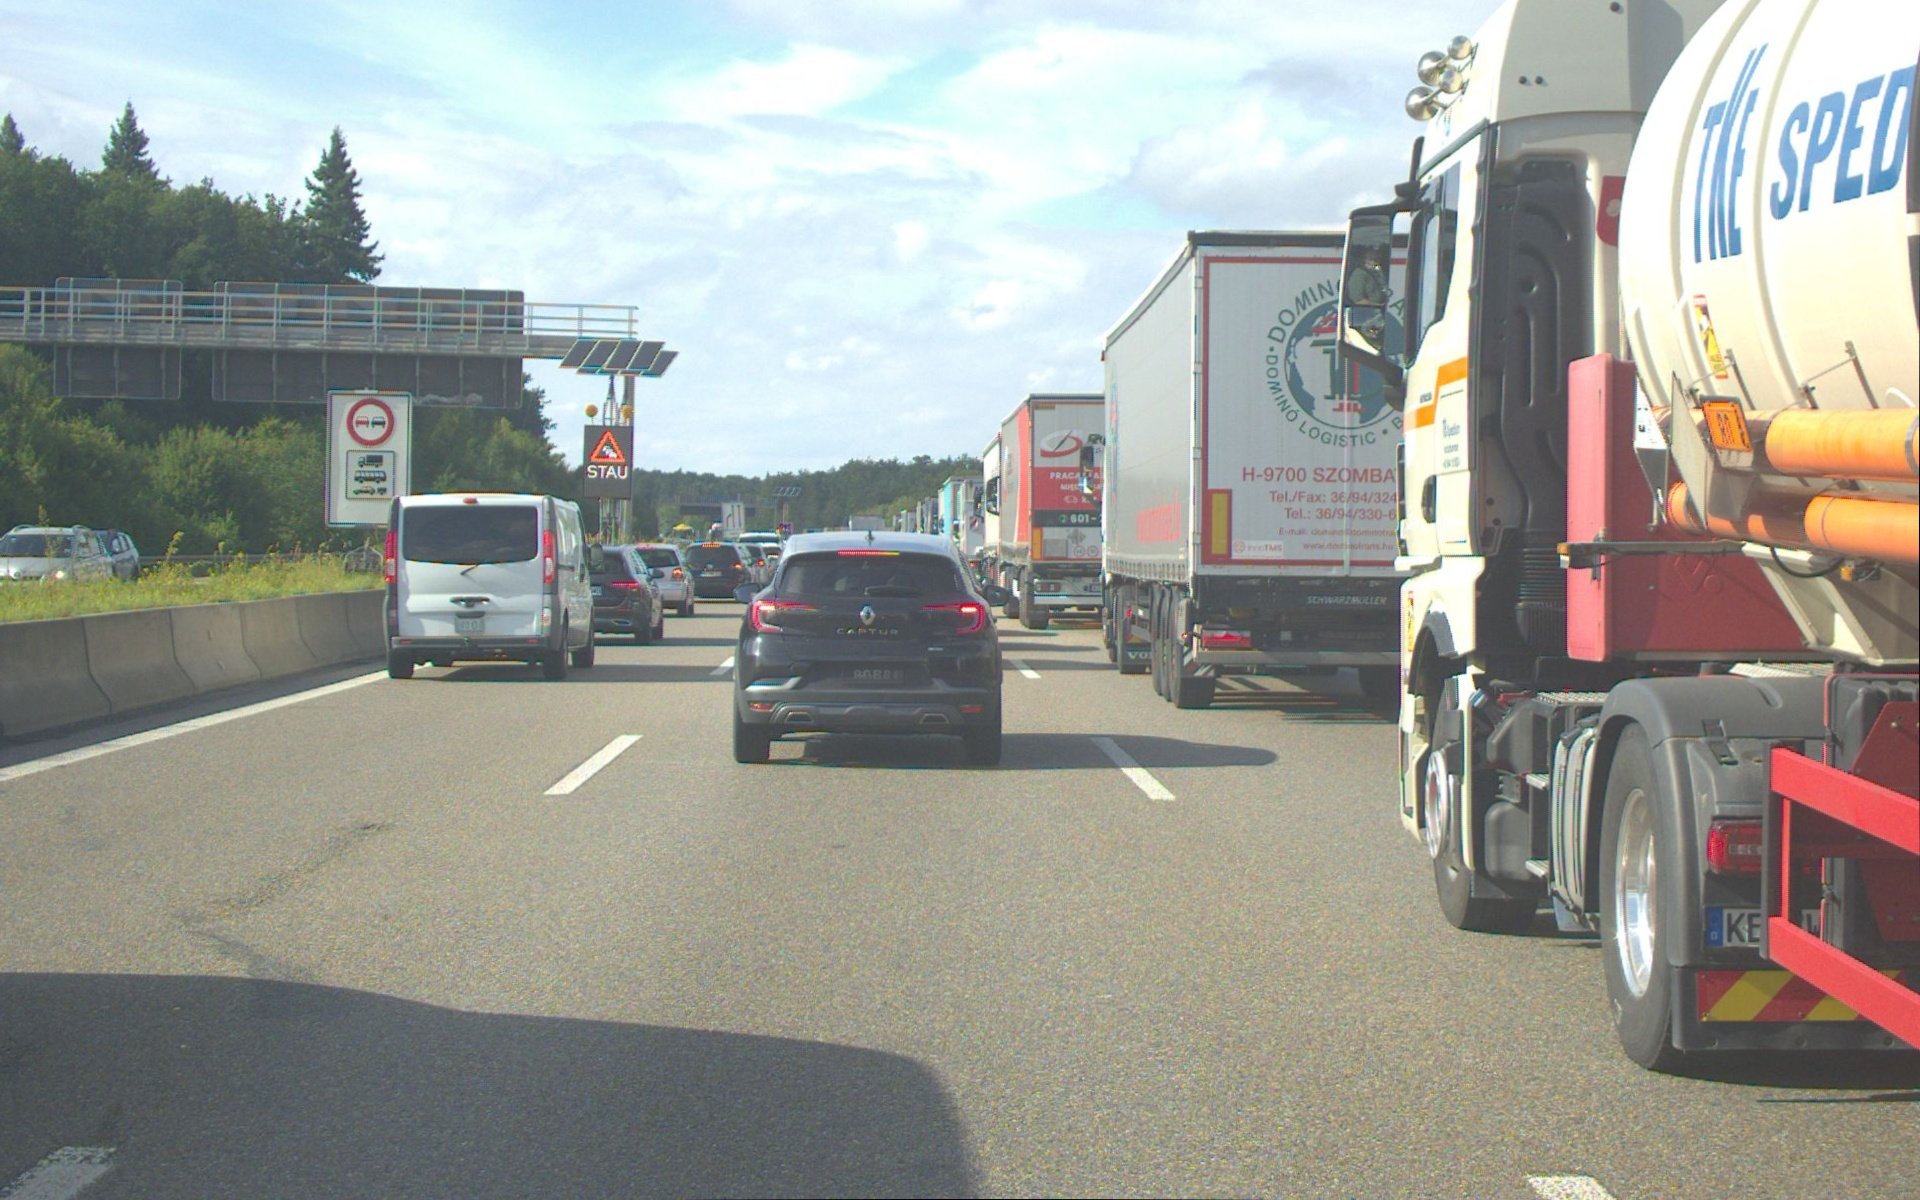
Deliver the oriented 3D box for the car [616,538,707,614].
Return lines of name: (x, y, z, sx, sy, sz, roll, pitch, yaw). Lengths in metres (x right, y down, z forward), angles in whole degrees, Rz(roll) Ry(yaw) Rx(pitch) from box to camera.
car: (-5.993, -0.491, 69.312, 1.500, 1.391, 3.476, 4, 1, -1)

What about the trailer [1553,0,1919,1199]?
trailer: (3.184, -0.436, 5.313, 2.541, 3.641, 10.627, 1, 1, -1)

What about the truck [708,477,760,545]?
truck: (-12.592, -4.922, 191.973, 2.344, 3.582, 6.306, 4, 1, -1)

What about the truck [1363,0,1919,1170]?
truck: (3.083, -0.471, 11.531, 2.533, 3.571, 6.730, 1, 1, -1)

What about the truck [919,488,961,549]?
truck: (-1.040, -4.259, 180.738, 1.993, 3.042, 4.982, 4, 1, 0)

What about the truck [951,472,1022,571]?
truck: (0.800, -2.460, 108.620, 1.993, 2.922, 4.982, 4, 1, 0)

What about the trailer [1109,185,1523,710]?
trailer: (3.113, -1.296, 33.252, 2.802, 4.229, 11.057, 0, 1, 0)

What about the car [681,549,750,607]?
car: (-5.933, -0.544, 83.816, 1.434, 1.305, 3.534, 4, 1, -1)

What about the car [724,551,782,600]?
car: (-5.922, -0.720, 98.577, 1.434, 1.305, 3.534, 4, 1, -1)

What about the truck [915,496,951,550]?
truck: (-1.621, -4.604, 206.585, 1.993, 3.042, 4.982, 4, 1, 0)

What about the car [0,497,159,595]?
car: (-16.512, -1.009, 64.665, 1.888, 1.678, 4.000, 4, 1, 0)

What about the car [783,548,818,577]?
car: (-6.535, -1.550, 141.013, 1.360, 1.155, 3.085, 0, 1, -1)

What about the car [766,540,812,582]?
car: (-5.663, -1.293, 114.274, 1.361, 1.296, 3.085, 4, 1, -1)

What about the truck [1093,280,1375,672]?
truck: (3.084, -1.383, 40.425, 2.786, 4.232, 6.460, 0, 1, 0)

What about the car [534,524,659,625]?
car: (-5.271, -0.377, 50.125, 1.500, 1.391, 3.476, 1, 1, -1)

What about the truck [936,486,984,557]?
truck: (-0.018, -3.533, 156.188, 1.993, 3.042, 4.982, 4, 1, 0)

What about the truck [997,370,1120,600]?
truck: (1.876, -2.184, 67.469, 2.134, 4.267, 6.339, 1, 1, 0)

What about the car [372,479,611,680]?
car: (-5.113, -0.246, 38.177, 1.933, 1.972, 5.099, 4, 1, -1)

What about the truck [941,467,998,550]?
truck: (0.333, -3.530, 134.351, 1.993, 3.042, 4.982, 4, 1, 0)

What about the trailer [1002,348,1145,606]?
trailer: (1.932, -2.096, 61.278, 2.150, 4.244, 8.440, 1, 1, 0)

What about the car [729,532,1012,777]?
car: (-0.549, 0.308, 24.214, 1.697, 1.477, 4.160, 1, 2, 2)
